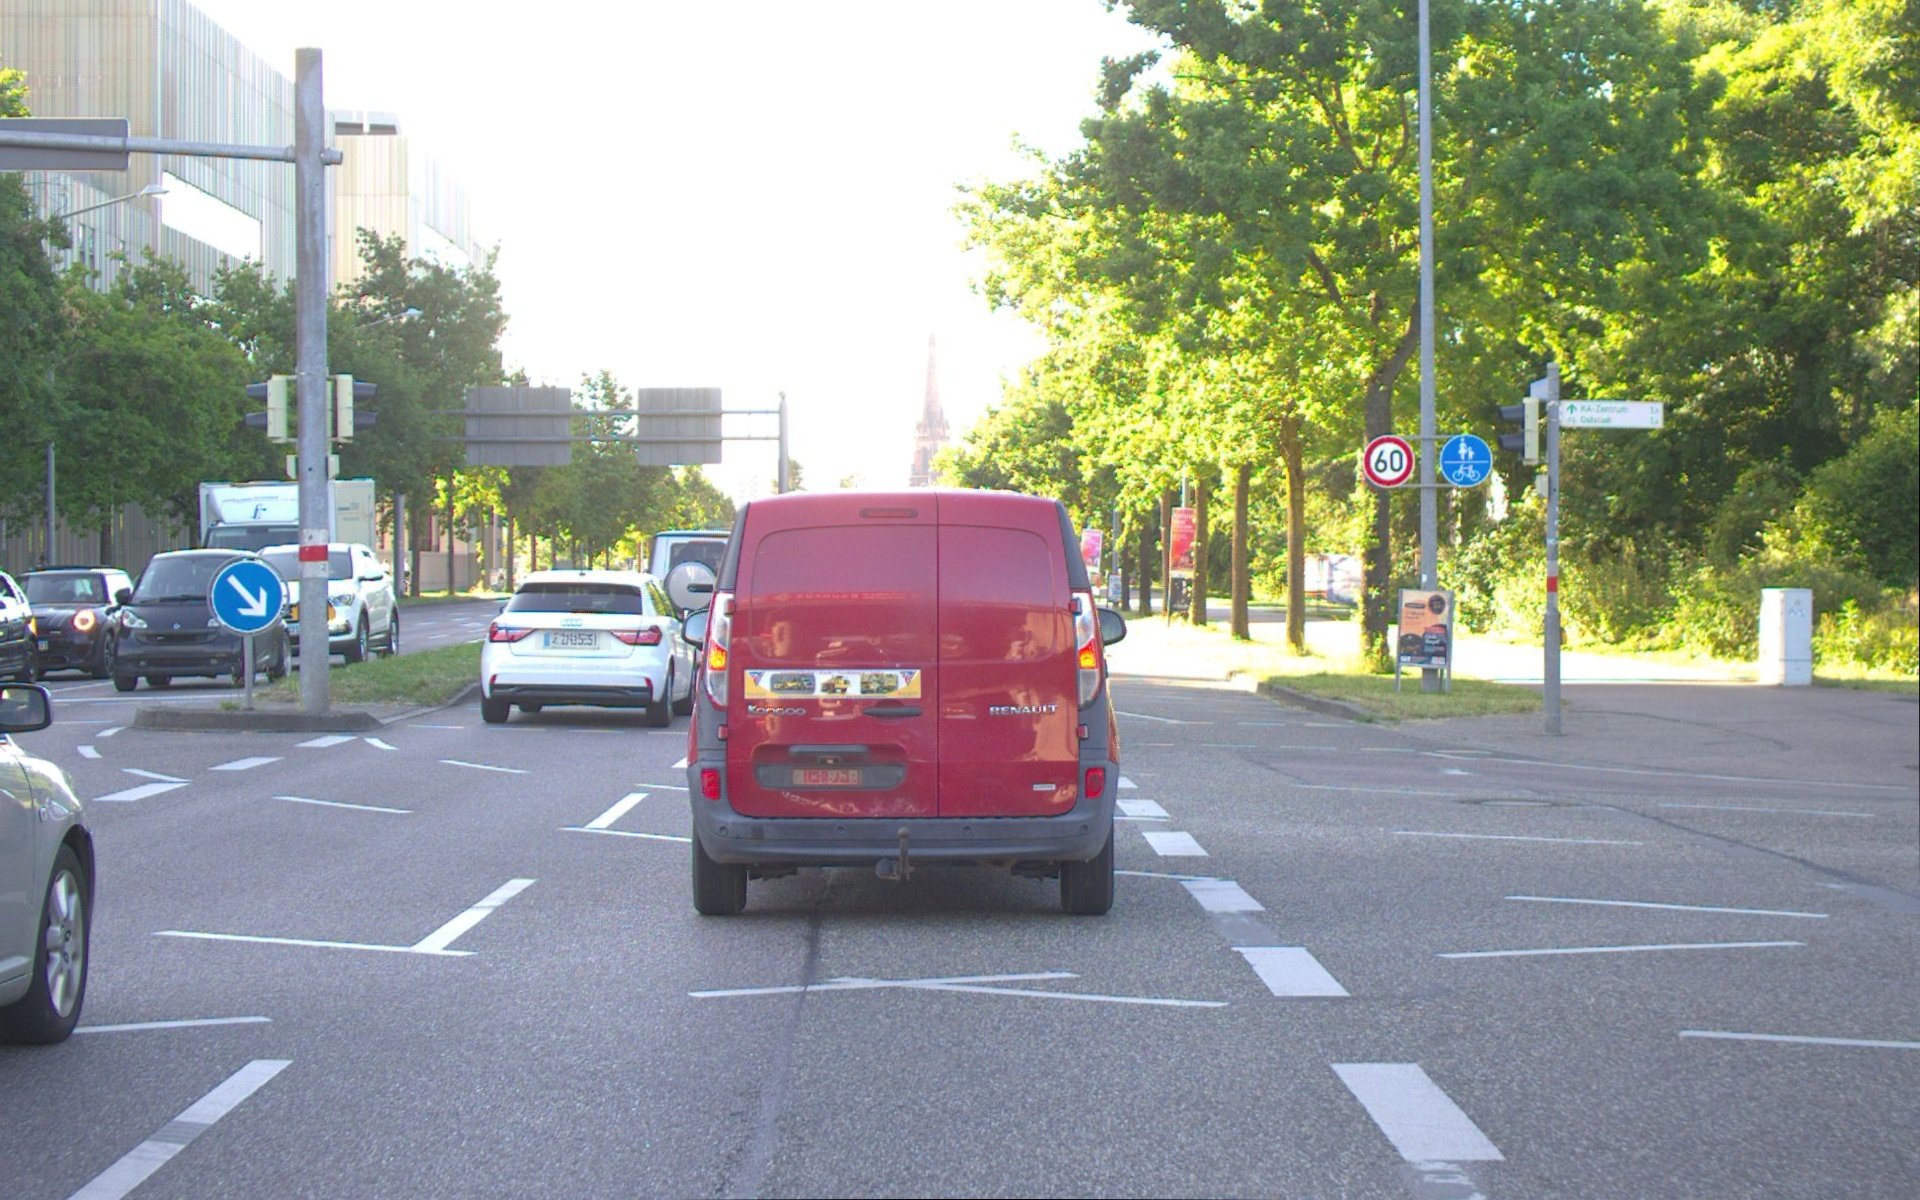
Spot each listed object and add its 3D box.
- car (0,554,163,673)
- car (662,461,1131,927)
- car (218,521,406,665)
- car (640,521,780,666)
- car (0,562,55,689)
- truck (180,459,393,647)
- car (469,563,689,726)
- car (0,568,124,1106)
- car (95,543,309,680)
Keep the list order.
[{"bbox_3d":[-11.575,0.175,44.680,1.636,1.438,4.077,-2,0,-3],"label":"car"},{"bbox_3d":[-0.221,0.401,15.470,1.805,1.788,4.000,1,-1,1],"label":"car"},{"bbox_3d":[-8.679,-0.087,46.353,1.757,1.790,4.083,-2,0,-1],"label":"car"},{"bbox_3d":[-3.600,-0.054,50.167,1.801,1.982,4.589,1,-1,-2],"label":"car"},{"bbox_3d":[-11.688,0.315,39.292,1.636,1.438,4.077,-2,0,-1],"label":"car"},{"bbox_3d":[-11.704,-0.782,60.272,2.409,3.016,6.657,-2,0,-1],"label":"truck"},{"bbox_3d":[-3.544,0.384,32.530,1.813,1.433,3.731,1,0,-3],"label":"car"},{"bbox_3d":[-3.494,0.644,8.615,1.733,1.475,4.319,0,0,0],"label":"car"},{"bbox_3d":[-8.616,0.125,39.333,1.636,1.438,3.719,-2,0,-1],"label":"car"}]
